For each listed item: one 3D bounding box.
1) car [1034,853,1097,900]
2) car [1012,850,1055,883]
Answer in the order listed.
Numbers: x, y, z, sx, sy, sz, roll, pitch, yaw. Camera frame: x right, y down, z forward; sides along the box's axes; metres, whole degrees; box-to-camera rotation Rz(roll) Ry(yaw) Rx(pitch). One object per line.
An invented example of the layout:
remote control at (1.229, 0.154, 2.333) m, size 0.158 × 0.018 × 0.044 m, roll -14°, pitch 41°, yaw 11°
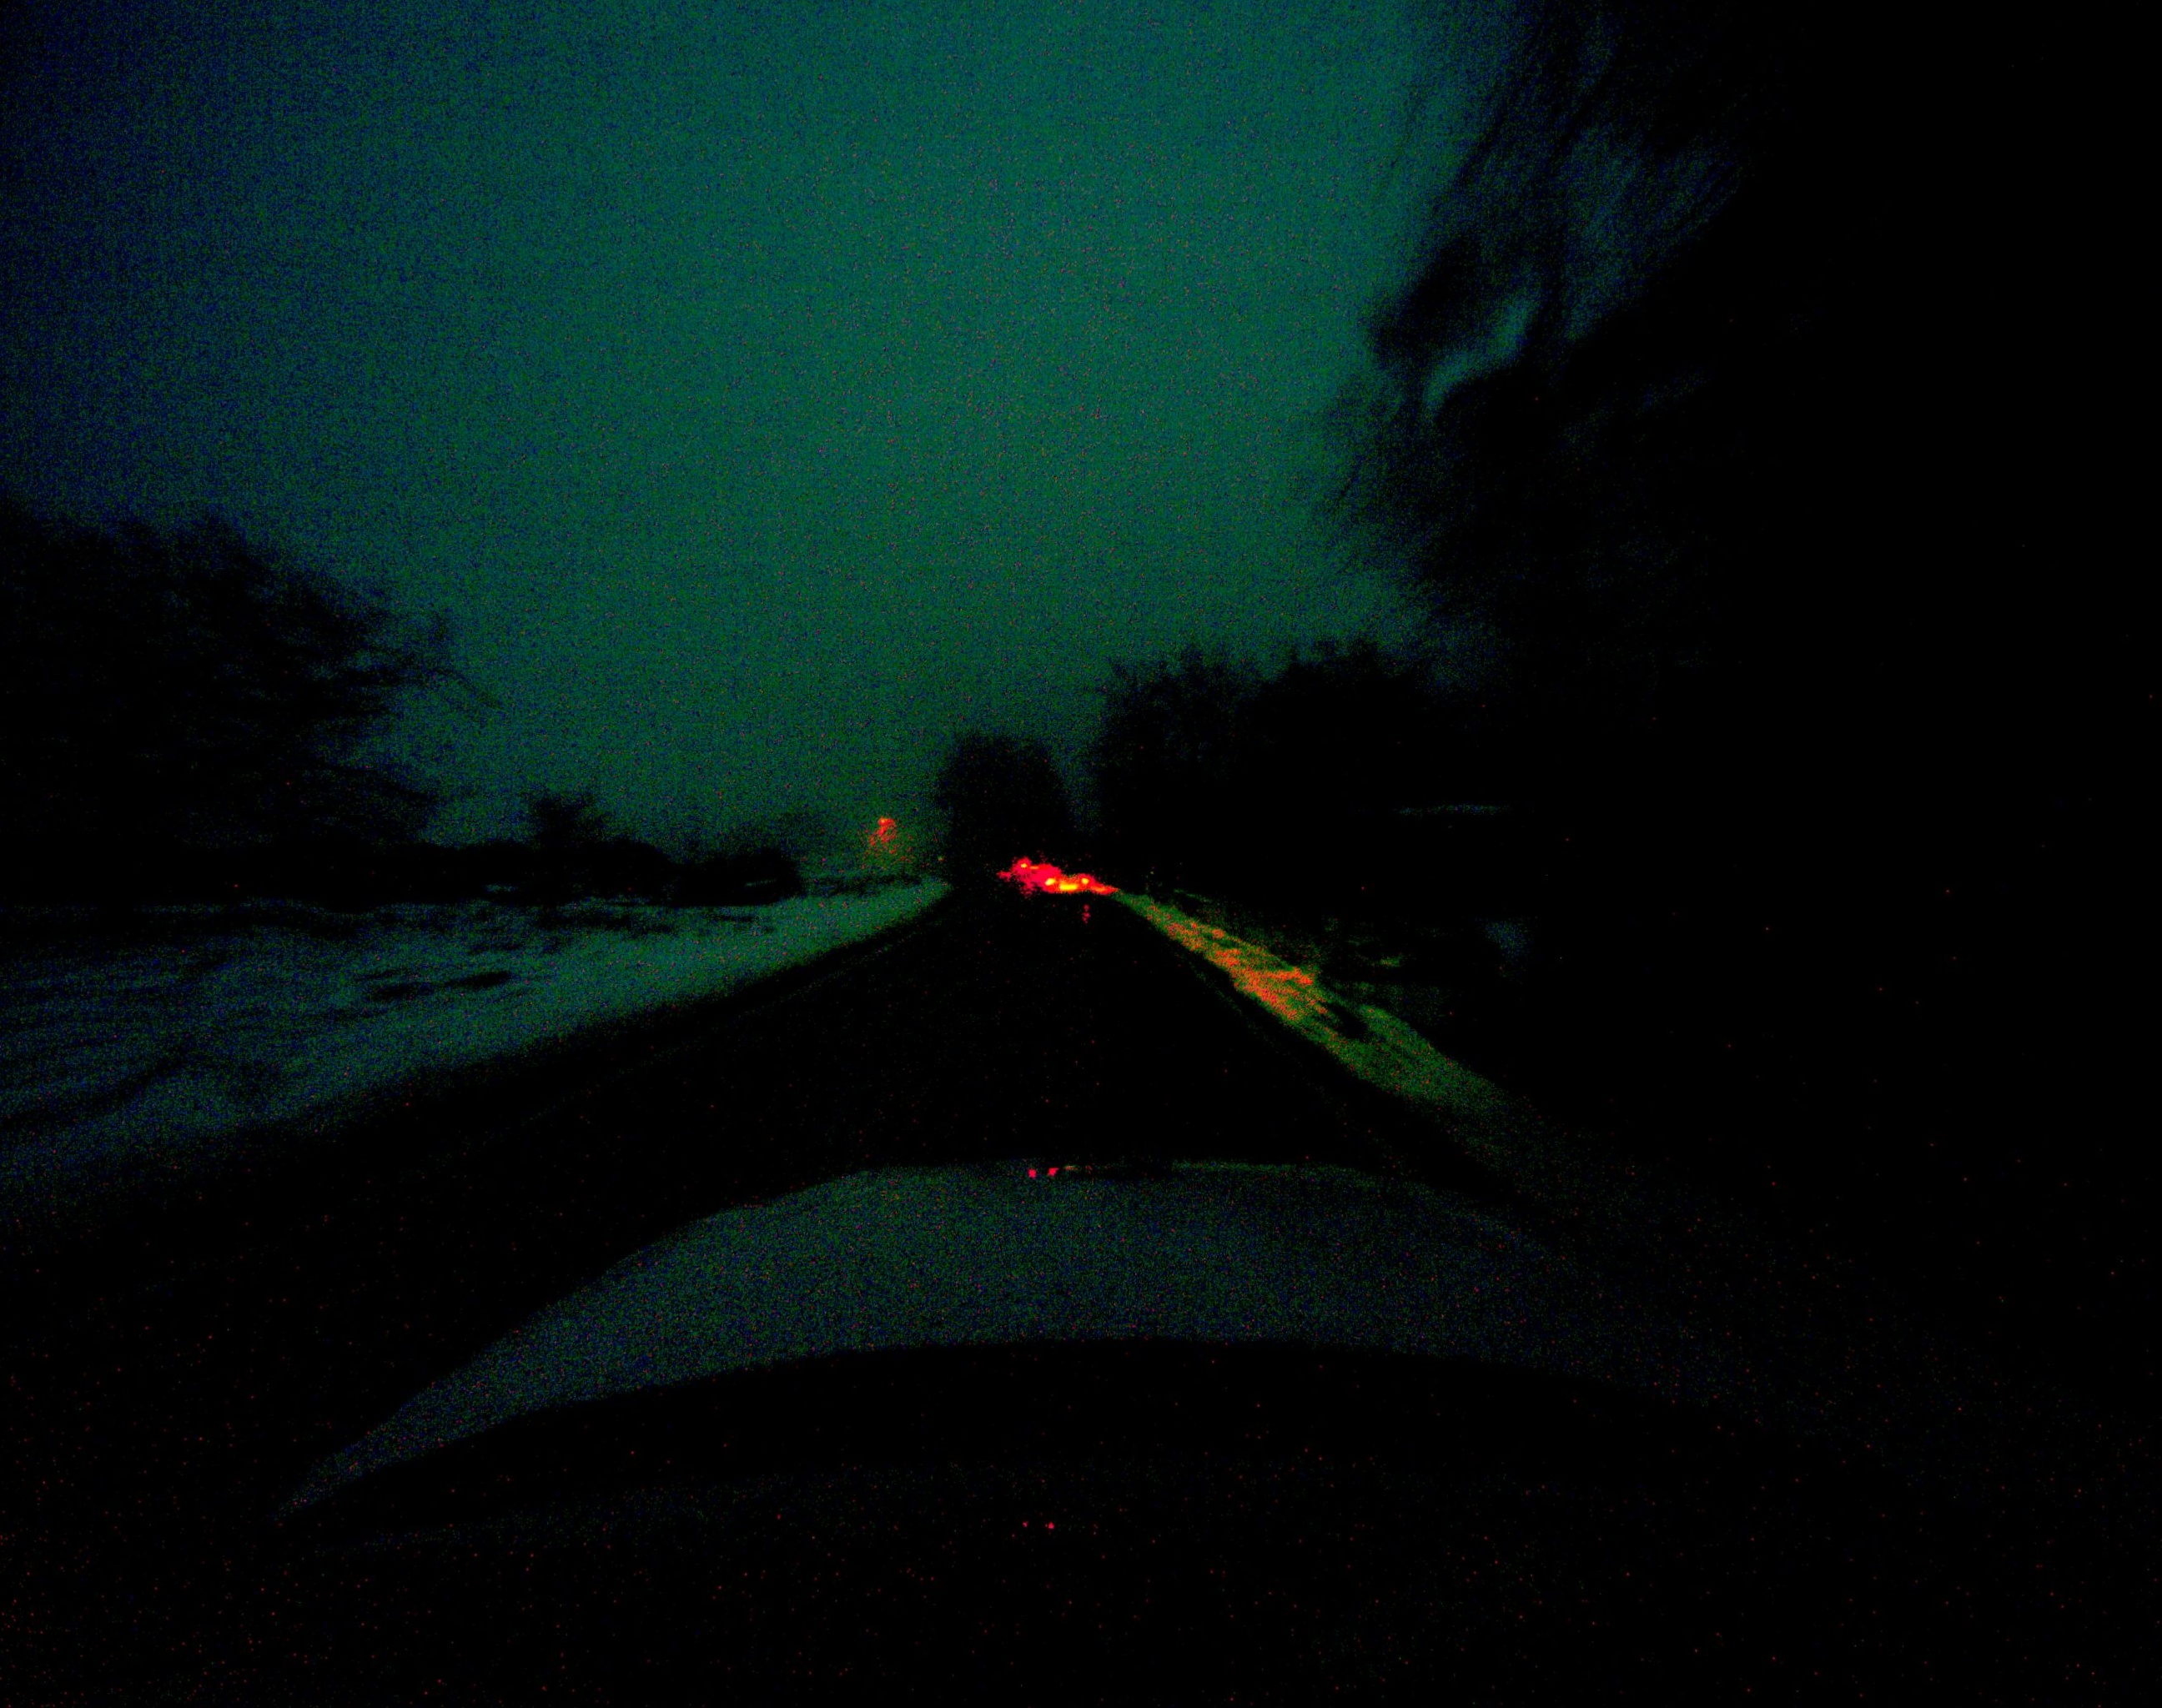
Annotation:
car at (-0.472, 0.772, 28.943) m, size 1.986 × 1.508 × 4.002 m, roll -1°, pitch -1°, yaw 2°
car at (-2.560, 0.683, 44.975) m, size 1.986 × 1.750 × 4.001 m, roll -1°, pitch -1°, yaw 1°
